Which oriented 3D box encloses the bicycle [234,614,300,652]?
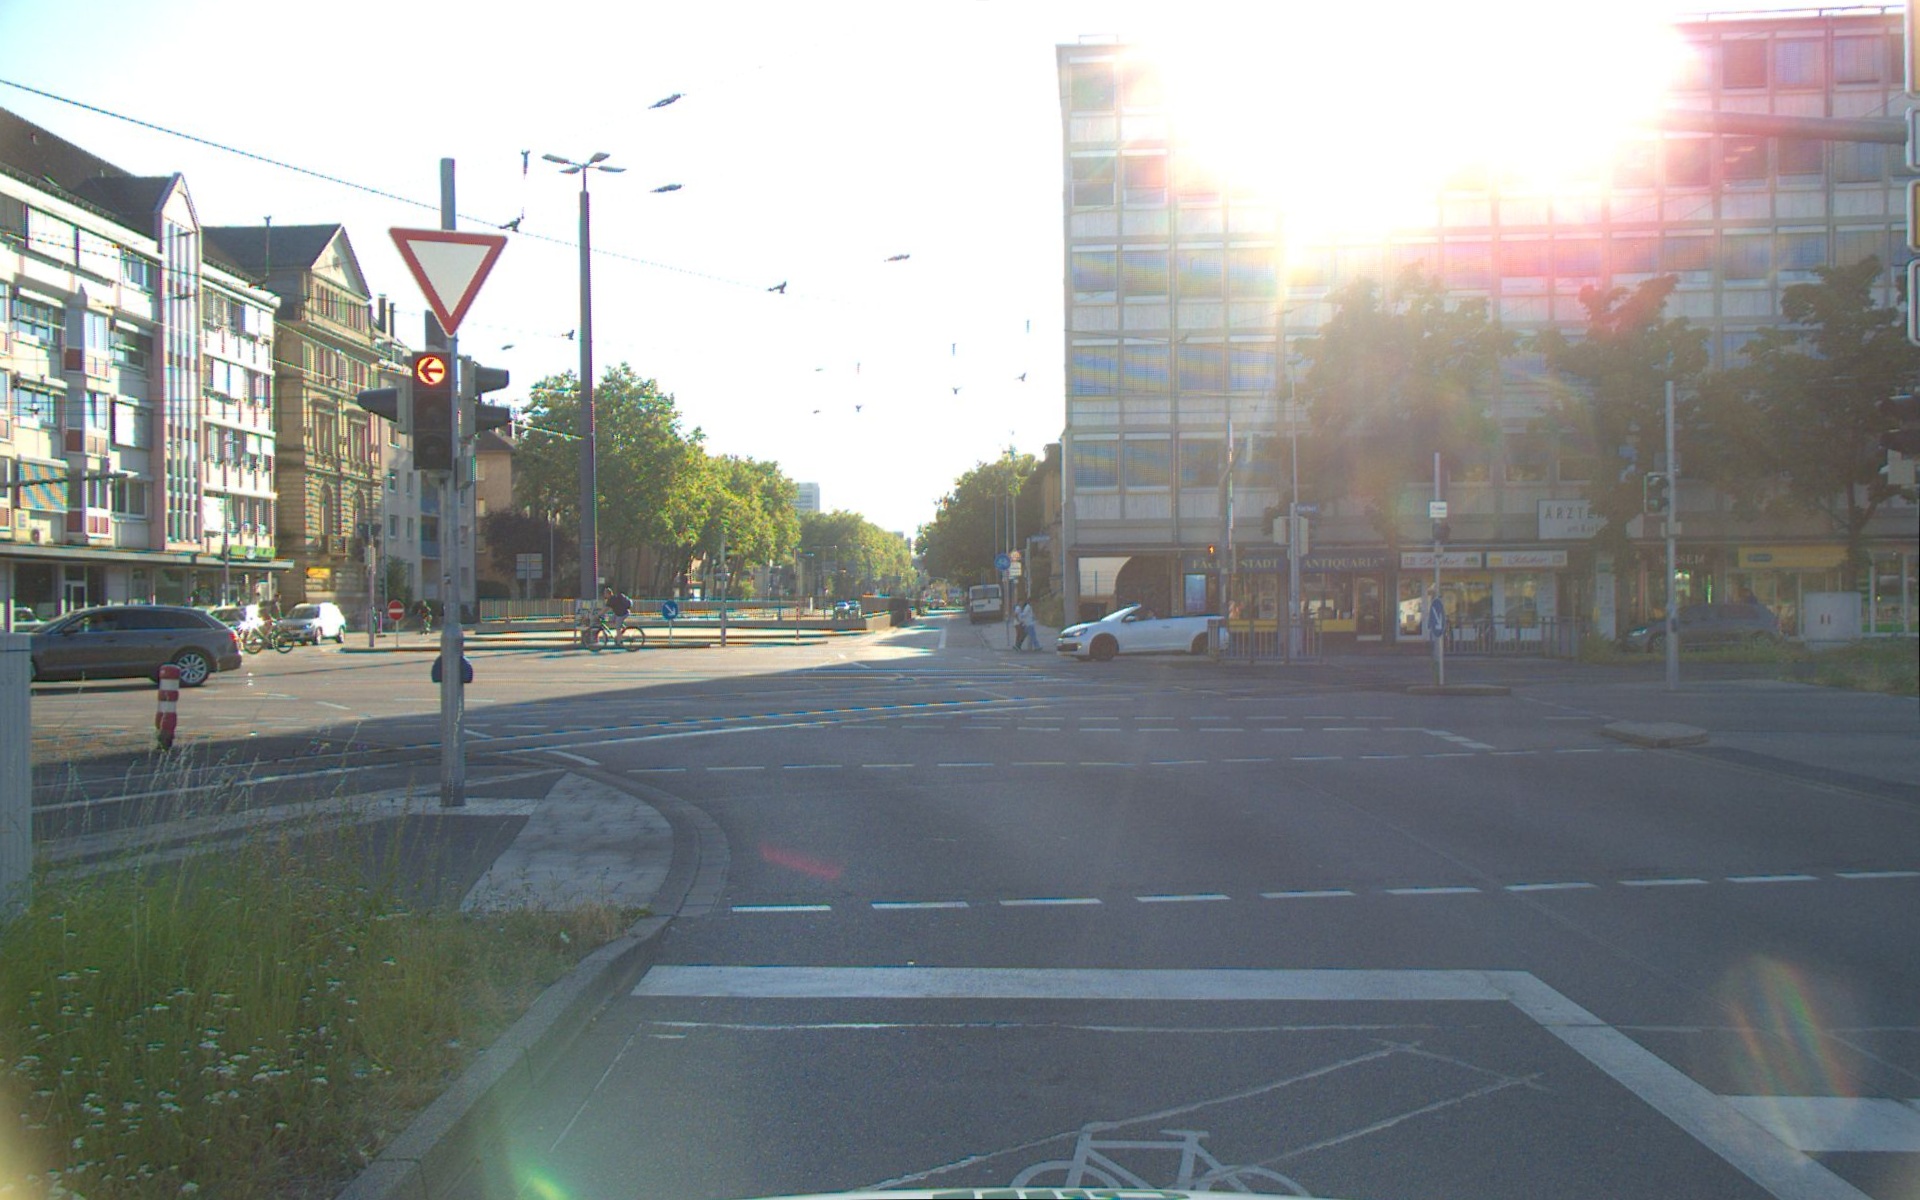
[{"bbox_3d":[-22.772,1.094,54.331,1.919,1.222,0.610,0,0,5],"label":"bicycle"}]

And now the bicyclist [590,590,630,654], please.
[{"bbox_3d":[-9.833,0.606,46.469,1.019,1.769,0.677,0,0,-5],"label":"bicyclist"}]

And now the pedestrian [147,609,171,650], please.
[{"bbox_3d":[-32.321,1.179,66.733,0.613,1.633,0.704,0,0,1],"label":"pedestrian"}]

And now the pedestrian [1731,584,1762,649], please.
[{"bbox_3d":[24.671,0.514,51.905,0.692,2.049,0.558,0,0,2],"label":"pedestrian"}]

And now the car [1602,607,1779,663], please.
[{"bbox_3d":[19.617,0.931,44.549,3.904,1.445,2.001,0,0,2],"label":"car"}]

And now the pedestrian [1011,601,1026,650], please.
[{"bbox_3d":[1.839,0.796,51.675,0.359,1.534,0.542,-1,0,-7],"label":"pedestrian"}]

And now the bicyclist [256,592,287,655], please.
[{"bbox_3d":[-22.613,0.758,54.330,0.760,2.049,0.605,0,0,5],"label":"bicyclist"}]

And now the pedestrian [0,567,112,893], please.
[{"bbox_3d":[-5.009,0.652,8.578,0.860,1.625,0.655,-1,0,-1],"label":"pedestrian"}]

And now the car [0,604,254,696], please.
[{"bbox_3d":[-15.538,0.852,29.745,4.892,1.504,1.970,-1,0,-41],"label":"car"}]

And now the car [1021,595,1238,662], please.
[{"bbox_3d":[4.062,0.656,39.938,4.836,1.504,1.993,0,0,-14],"label":"car"}]

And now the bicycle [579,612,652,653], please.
[{"bbox_3d":[-9.681,0.921,46.497,1.934,1.117,0.677,0,0,-5],"label":"bicycle"}]

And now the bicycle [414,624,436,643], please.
[{"bbox_3d":[-28.999,1.811,89.694,0.586,0.931,1.836,-1,0,1],"label":"bicycle"}]

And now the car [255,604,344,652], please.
[{"bbox_3d":[-27.417,1.151,68.756,1.952,1.892,4.001,-1,0,2],"label":"car"}]

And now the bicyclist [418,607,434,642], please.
[{"bbox_3d":[-29.002,1.324,89.843,0.580,1.894,0.642,-1,0,1],"label":"bicyclist"}]

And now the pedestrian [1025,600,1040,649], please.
[{"bbox_3d":[2.293,0.782,52.431,0.359,1.534,0.542,-1,0,-7],"label":"pedestrian"}]

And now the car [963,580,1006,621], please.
[{"bbox_3d":[1.499,0.064,104.283,2.435,2.434,5.933,-2,0,-1],"label":"car"}]

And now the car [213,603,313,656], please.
[{"bbox_3d":[-26.144,1.078,62.177,1.952,1.892,4.001,-1,0,2],"label":"car"}]

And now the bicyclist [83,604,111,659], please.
[{"bbox_3d":[-29.697,1.080,56.907,0.580,1.894,0.642,-1,0,1],"label":"bicyclist"}]
